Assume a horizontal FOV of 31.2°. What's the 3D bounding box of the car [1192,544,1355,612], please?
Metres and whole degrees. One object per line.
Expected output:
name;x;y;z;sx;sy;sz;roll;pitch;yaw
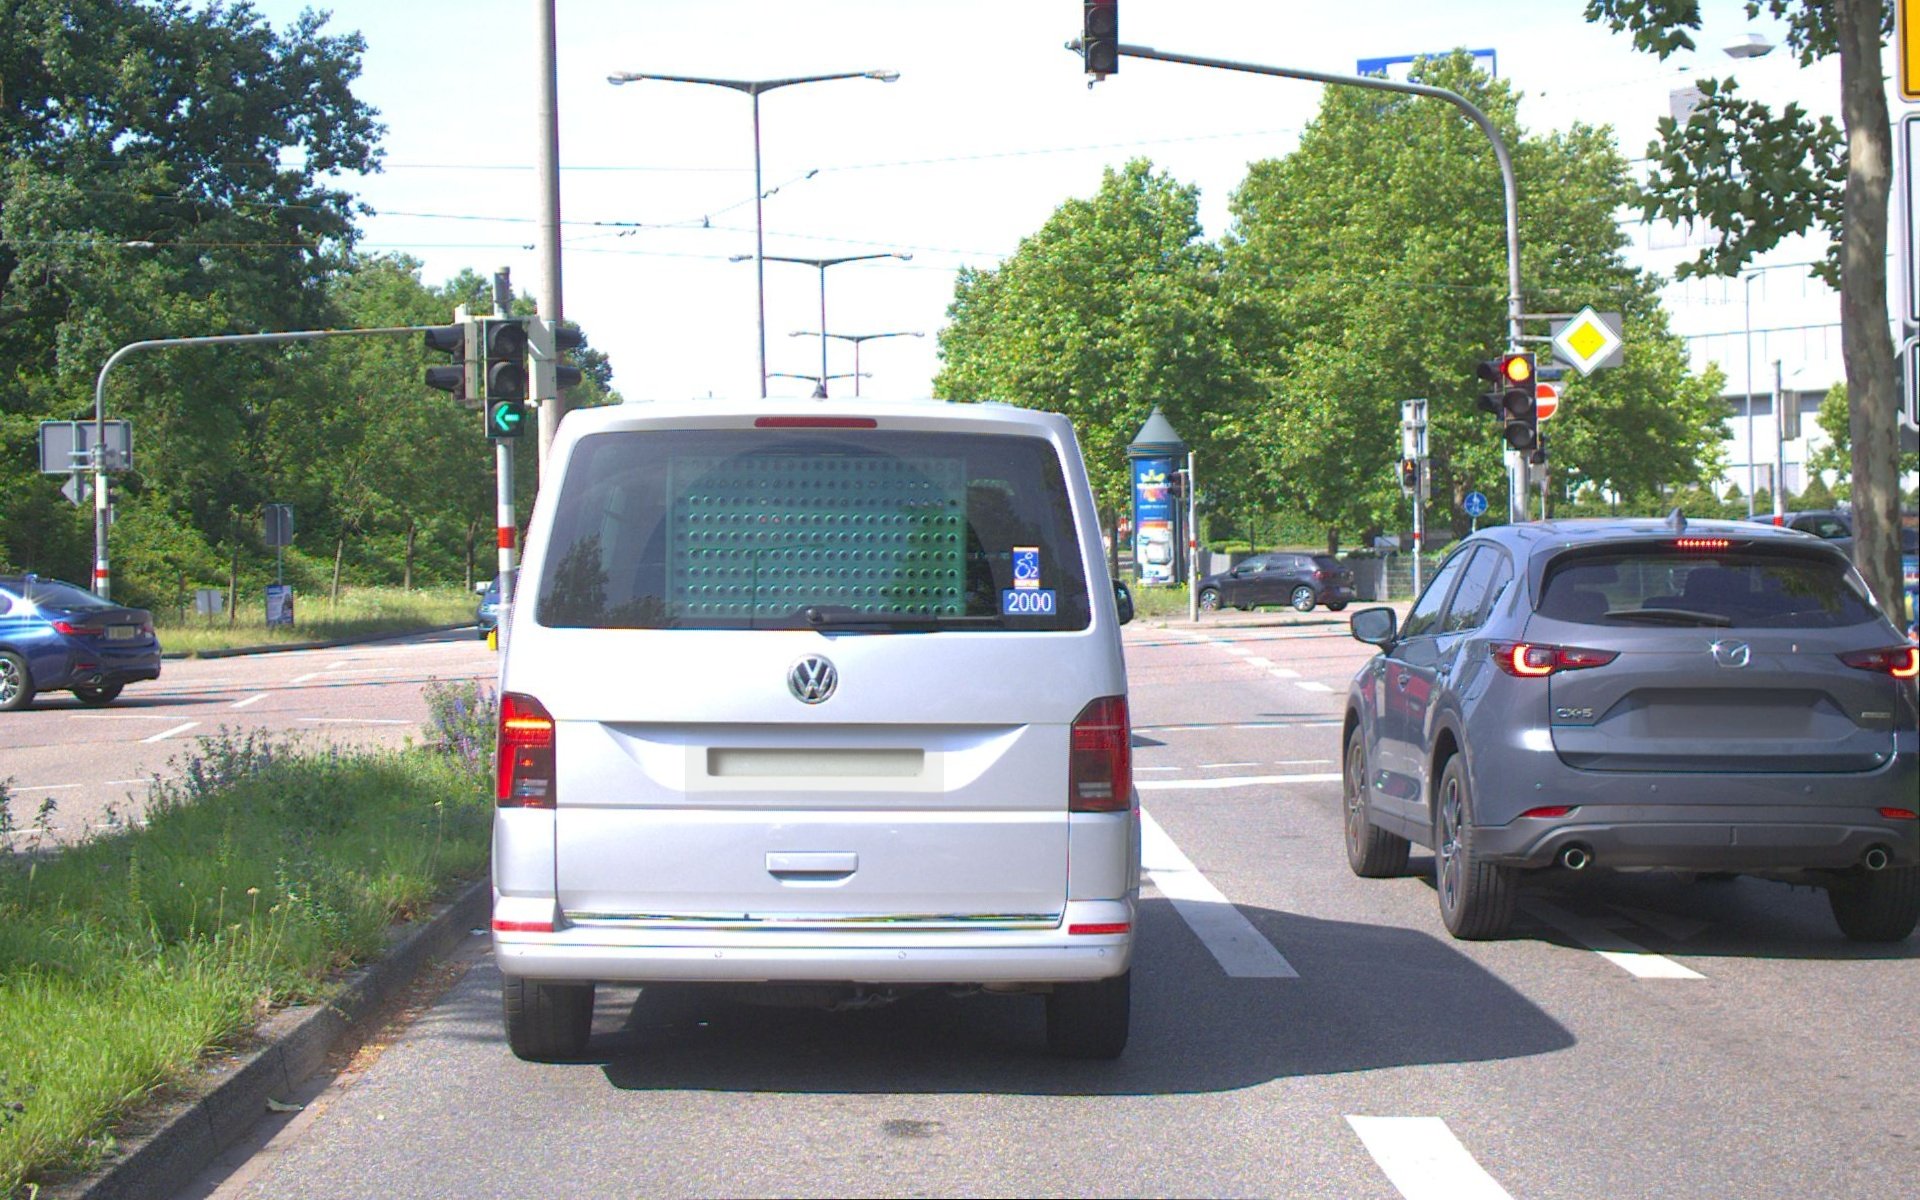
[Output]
car;7.478;-0.538;81.928;3.597;1.560;1.999;1;0;14

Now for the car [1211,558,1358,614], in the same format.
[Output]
car;7.739;-0.344;81.862;3.244;1.232;1.647;-1;1;14

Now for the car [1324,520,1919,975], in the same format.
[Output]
car;2.752;0.509;14.829;1.766;1.653;4.496;1;1;-1

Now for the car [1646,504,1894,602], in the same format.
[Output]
car;15.051;-0.876;63.794;4.613;1.683;1.915;-2;1;-37

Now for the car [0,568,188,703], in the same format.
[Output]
car;-10.812;0.396;37.648;4.315;1.392;1.790;-1;1;21

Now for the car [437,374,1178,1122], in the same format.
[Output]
car;-0.434;0.358;11.633;1.941;1.965;5.022;-1;1;-1

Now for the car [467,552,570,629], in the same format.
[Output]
car;-9.500;-0.227;74.194;1.849;1.556;4.001;-2;1;-3

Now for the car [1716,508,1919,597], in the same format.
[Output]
car;17.607;-0.981;69.625;4.613;1.683;1.915;-2;1;-37

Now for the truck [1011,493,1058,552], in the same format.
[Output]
truck;5.740;-5.879;262.134;3.191;4.340;13.146;-1;1;3
